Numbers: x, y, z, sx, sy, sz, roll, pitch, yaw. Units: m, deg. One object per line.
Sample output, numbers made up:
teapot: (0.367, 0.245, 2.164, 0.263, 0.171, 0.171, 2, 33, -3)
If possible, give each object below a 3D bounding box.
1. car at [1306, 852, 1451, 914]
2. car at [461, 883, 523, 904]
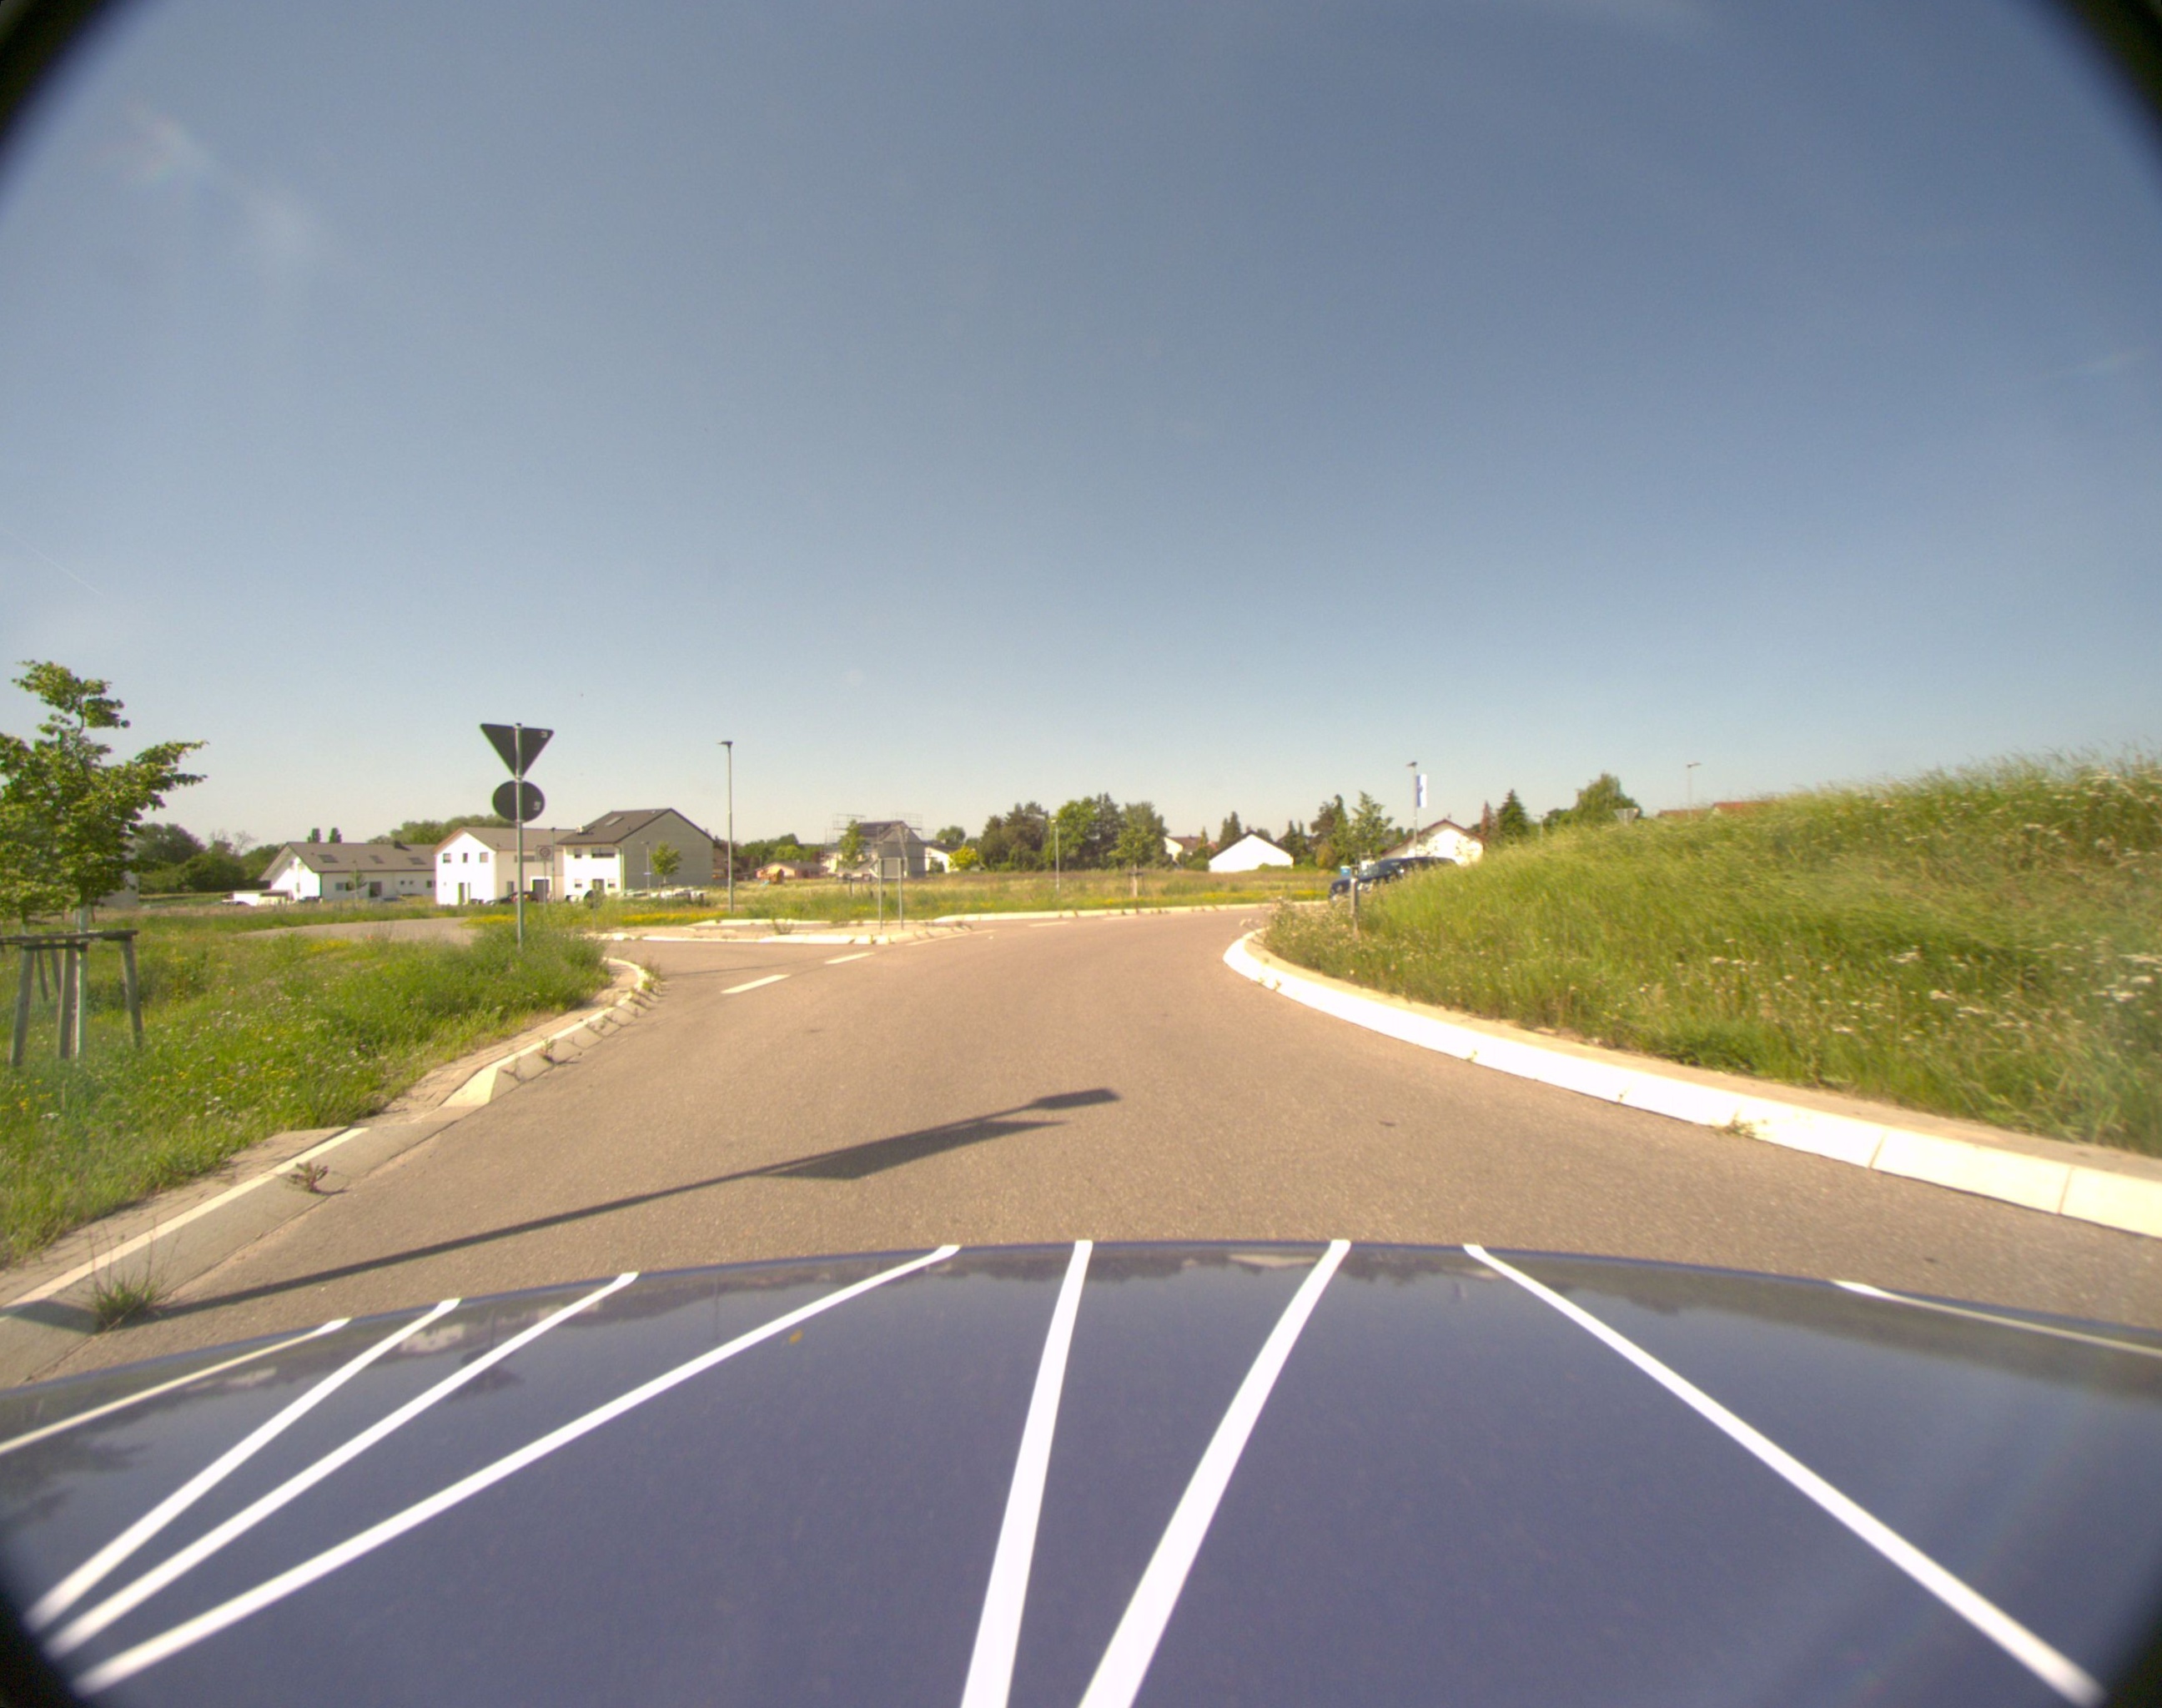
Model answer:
car: (9.084, 0.845, 23.147, 4.145, 1.632, 1.778, -2, -1, -28)
car: (-54.775, 3.673, 70.728, 1.995, 1.783, 4.007, -2, 0, 24)
